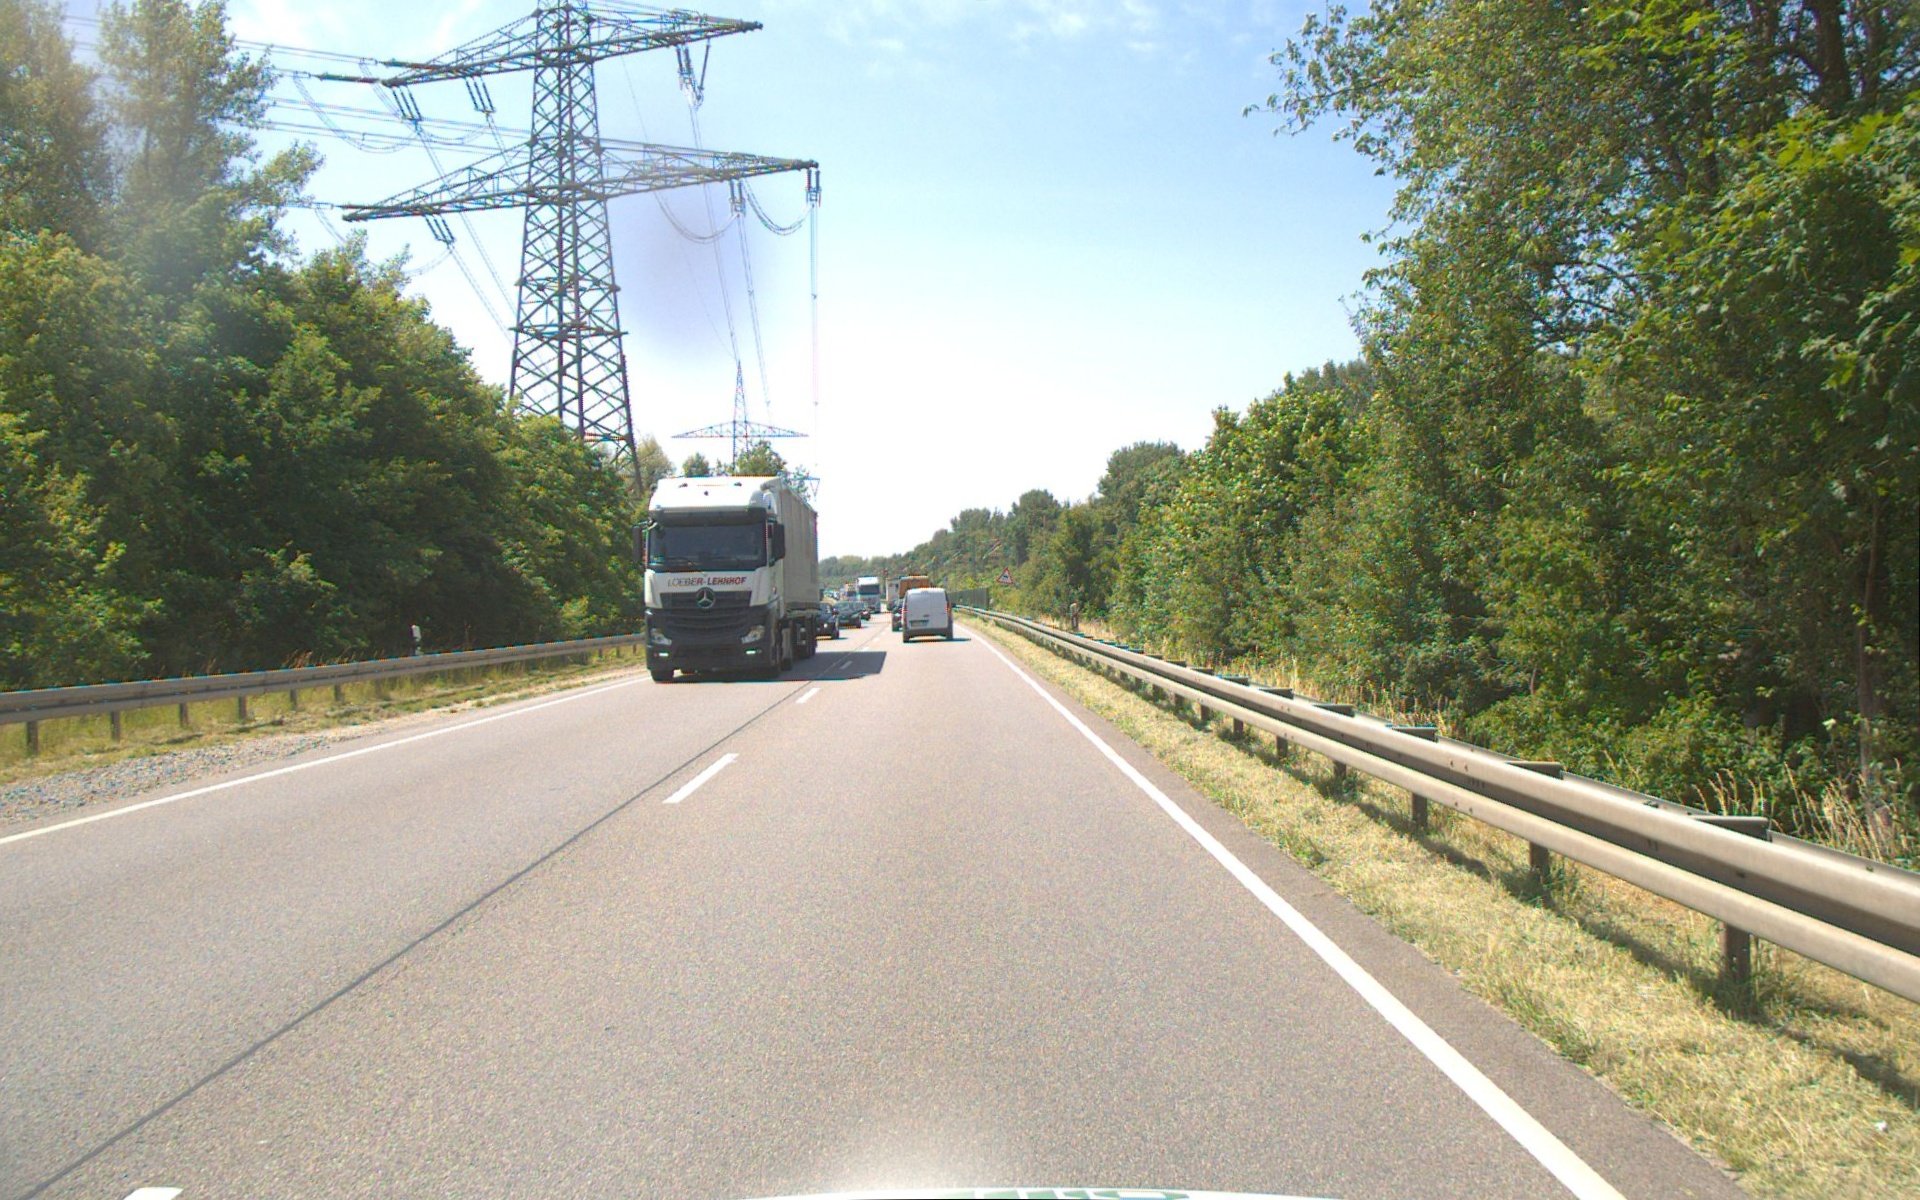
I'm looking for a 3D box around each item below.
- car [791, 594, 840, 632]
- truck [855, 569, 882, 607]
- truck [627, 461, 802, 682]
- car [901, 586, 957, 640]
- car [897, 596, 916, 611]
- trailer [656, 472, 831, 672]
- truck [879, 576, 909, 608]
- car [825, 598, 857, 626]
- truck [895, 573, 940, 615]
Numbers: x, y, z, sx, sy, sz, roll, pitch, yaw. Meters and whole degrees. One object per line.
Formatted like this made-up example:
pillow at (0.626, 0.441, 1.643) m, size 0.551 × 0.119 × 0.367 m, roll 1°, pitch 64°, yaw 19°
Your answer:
car at (-5.762, 0.495, 66.416) m, size 1.600 × 1.462 × 4.180 m, roll 0°, pitch 0°, yaw 0°
truck at (-10.456, -1.384, 189.254) m, size 2.688 × 4.112 × 9.659 m, roll -3°, pitch 0°, yaw -2°
truck at (-4.908, -0.547, 34.108) m, size 2.707 × 4.069 × 5.905 m, roll -2°, pitch 0°, yaw -1°
car at (-1.077, 0.432, 57.160) m, size 1.837 × 1.772 × 3.999 m, roll -1°, pitch 0°, yaw -1°
car at (-5.879, 0.390, 181.609) m, size 1.954 × 1.553 × 3.998 m, roll -2°, pitch 0°, yaw -3°
trailer at (-5.043, -0.589, 41.333) m, size 2.707 × 4.069 × 13.683 m, roll -2°, pitch 0°, yaw -1°
truck at (-8.660, -1.144, 214.234) m, size 3.335 × 3.922 × 16.804 m, roll 1°, pitch 1°, yaw -4°
car at (-6.559, 0.650, 91.745) m, size 1.601 × 1.462 × 4.412 m, roll -2°, pitch 0°, yaw -3°
truck at (-3.571, -0.585, 135.275) m, size 3.231 × 3.227 × 14.396 m, roll 1°, pitch 1°, yaw -3°
